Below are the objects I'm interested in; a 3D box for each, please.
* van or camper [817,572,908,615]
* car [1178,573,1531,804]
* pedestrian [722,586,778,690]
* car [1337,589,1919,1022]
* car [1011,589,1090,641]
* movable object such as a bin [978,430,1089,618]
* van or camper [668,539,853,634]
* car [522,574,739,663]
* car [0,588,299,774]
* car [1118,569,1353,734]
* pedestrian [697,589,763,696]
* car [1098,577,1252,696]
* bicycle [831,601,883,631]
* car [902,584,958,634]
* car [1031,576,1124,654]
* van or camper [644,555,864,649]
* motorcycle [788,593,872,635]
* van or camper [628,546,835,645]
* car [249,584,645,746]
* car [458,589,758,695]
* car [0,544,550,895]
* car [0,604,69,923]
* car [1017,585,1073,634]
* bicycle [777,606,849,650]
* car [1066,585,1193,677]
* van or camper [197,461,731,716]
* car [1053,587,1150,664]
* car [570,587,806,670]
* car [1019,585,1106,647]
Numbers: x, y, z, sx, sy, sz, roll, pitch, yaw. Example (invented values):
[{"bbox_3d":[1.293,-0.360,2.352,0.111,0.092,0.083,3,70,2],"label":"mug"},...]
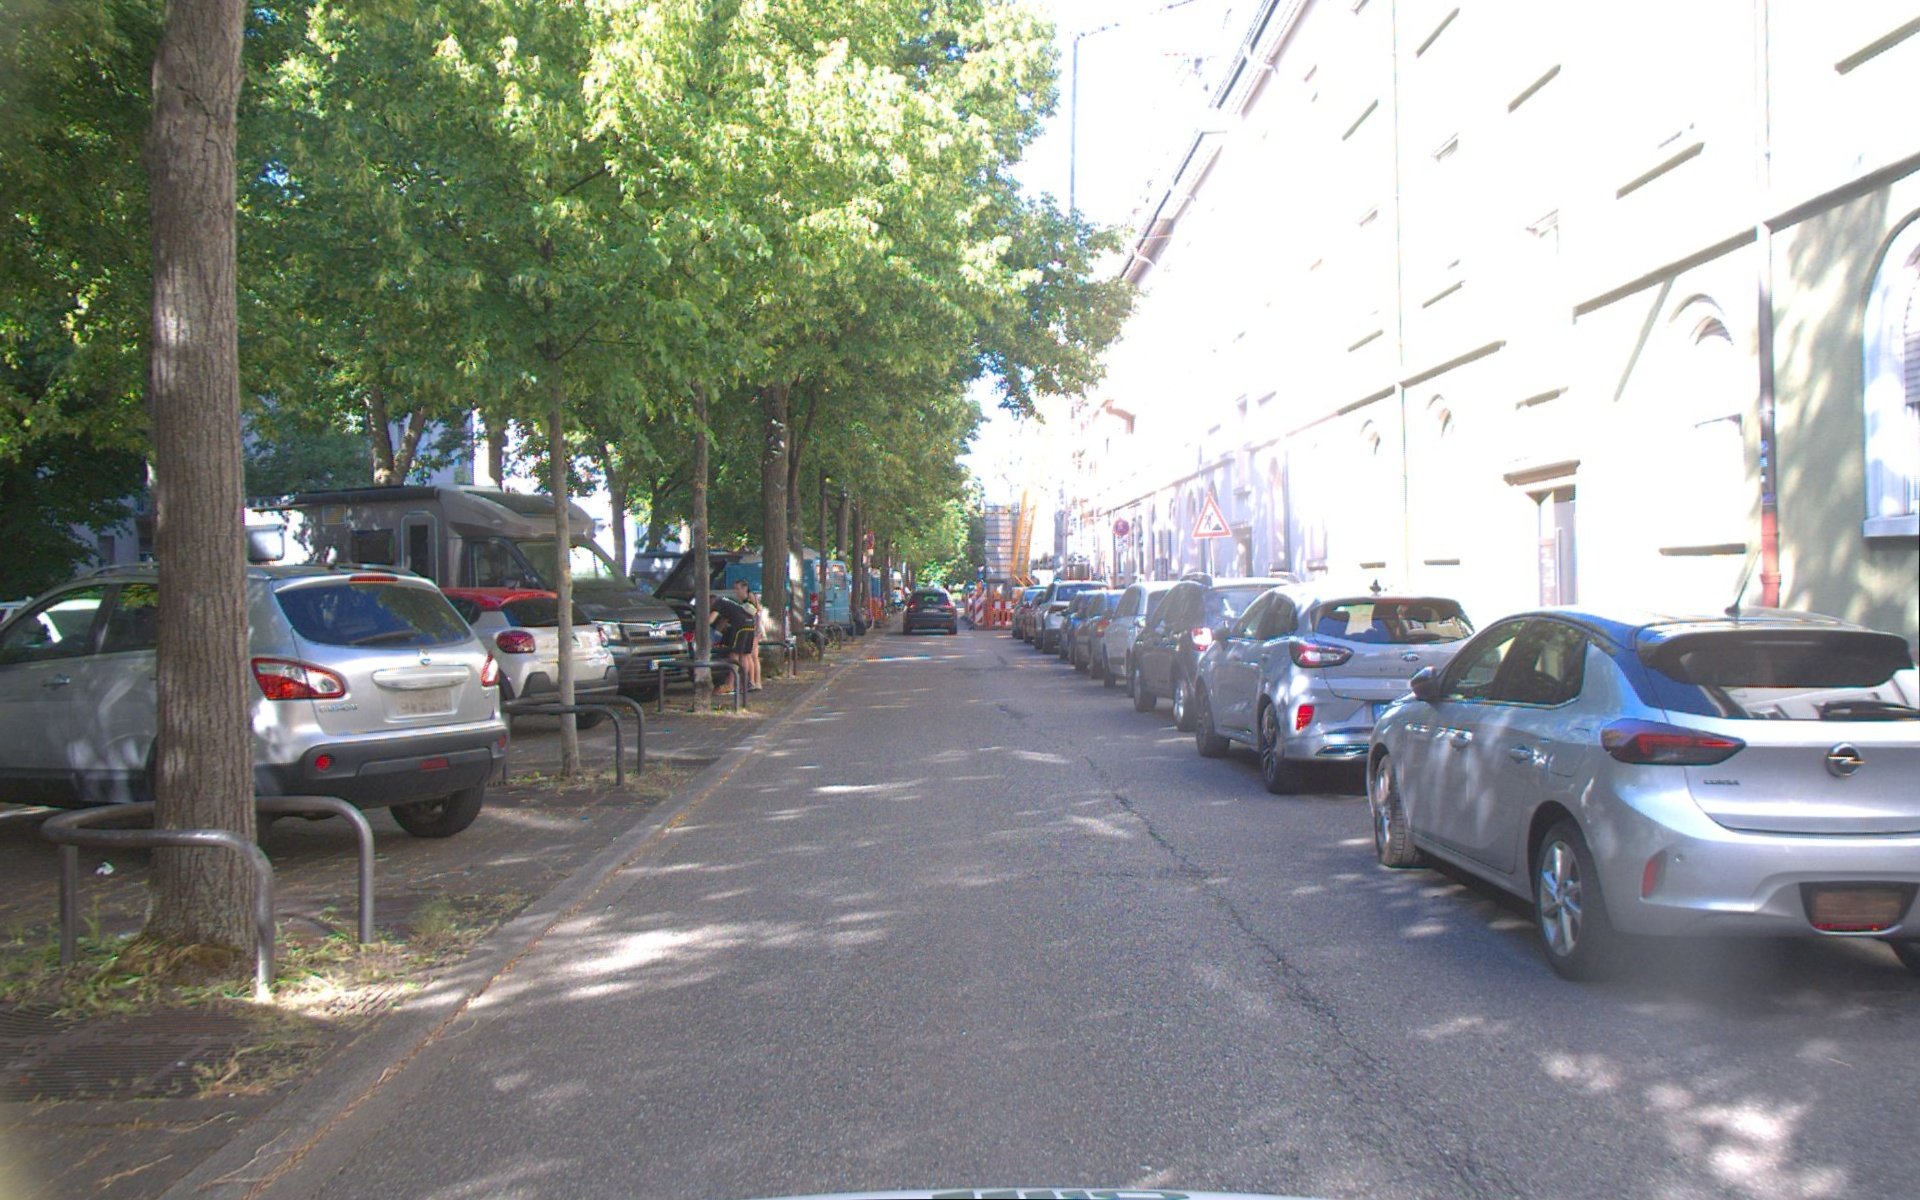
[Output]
[{"bbox_3d":[-6.080,-0.389,103.112,5.235,2.518,2.289,-1,1,31],"label":"van or camper"},{"bbox_3d":[3.003,0.589,13.503,1.688,1.555,4.156,-1,1,-3],"label":"car"},{"bbox_3d":[-3.046,0.543,23.988,0.602,1.481,0.519,-1,0,22],"label":"pedestrian"},{"bbox_3d":[3.150,0.699,7.850,1.687,1.457,4.157,-1,1,-1],"label":"car"},{"bbox_3d":[2.633,0.396,49.080,1.953,1.434,4.499,-1,1,-2],"label":"car"},{"bbox_3d":[2.761,-2.783,62.403,3.415,6.877,2.363,-1,0,32],"label":"movable object such as a bin"},{"bbox_3d":[-7.436,-0.485,61.436,6.528,3.297,2.492,-1,0,28],"label":"van or camper"},{"bbox_3d":[-7.100,0.389,35.531,4.460,1.795,1.807,-1,0,30],"label":"car"},{"bbox_3d":[-8.125,0.714,15.688,3.469,1.533,1.753,-1,1,33],"label":"car"},{"bbox_3d":[2.986,0.495,18.753,1.688,1.624,4.155,-1,1,-4],"label":"car"},{"bbox_3d":[-3.254,0.603,23.434,0.695,1.481,0.596,-1,0,22],"label":"pedestrian"},{"bbox_3d":[3.028,0.466,23.932,1.598,1.561,3.591,-1,1,-2],"label":"car"},{"bbox_3d":[-3.668,0.583,58.784,1.858,1.024,0.430,-1,0,23],"label":"bicycle"},{"bbox_3d":[-1.007,0.264,54.723,1.761,1.530,3.584,-2,1,-2],"label":"car"},{"bbox_3d":[2.723,0.315,39.206,1.779,1.703,4.673,-1,1,-1],"label":"car"},{"bbox_3d":[-5.502,0.049,44.115,5.386,2.315,2.220,-1,1,23],"label":"van or camper"},{"bbox_3d":[-4.105,0.447,52.328,2.495,1.280,0.763,-1,0,7],"label":"motorcycle"},{"bbox_3d":[-6.707,-0.118,48.343,5.756,2.683,2.252,-1,1,29],"label":"van or camper"},{"bbox_3d":[-5.475,0.658,17.596,3.910,1.533,1.755,-1,1,28],"label":"car"},{"bbox_3d":[-5.247,0.610,24.574,4.230,1.449,1.674,-1,0,26],"label":"car"},{"bbox_3d":[-4.587,0.594,9.793,4.054,1.708,1.757,-1,0,28],"label":"car"},{"bbox_3d":[-6.301,0.717,7.966,3.956,1.427,1.819,1,1,32],"label":"car"},{"bbox_3d":[2.758,0.294,54.094,1.560,1.557,2.779,-1,1,-2],"label":"car"},{"bbox_3d":[-3.597,0.673,40.469,1.702,1.023,0.506,-2,0,-31],"label":"bicycle"},{"bbox_3d":[2.846,0.481,28.549,1.598,1.437,4.087,-1,1,-2],"label":"car"},{"bbox_3d":[-6.680,-0.082,21.994,7.084,2.981,2.312,-1,0,26],"label":"van or camper"},{"bbox_3d":[2.832,0.479,33.687,1.585,1.437,3.787,-1,1,-1],"label":"car"},{"bbox_3d":[-5.219,0.536,31.517,4.393,1.468,1.728,-1,1,32],"label":"car"},{"bbox_3d":[2.710,0.390,44.574,1.756,1.550,3.959,-1,1,-5],"label":"car"}]
